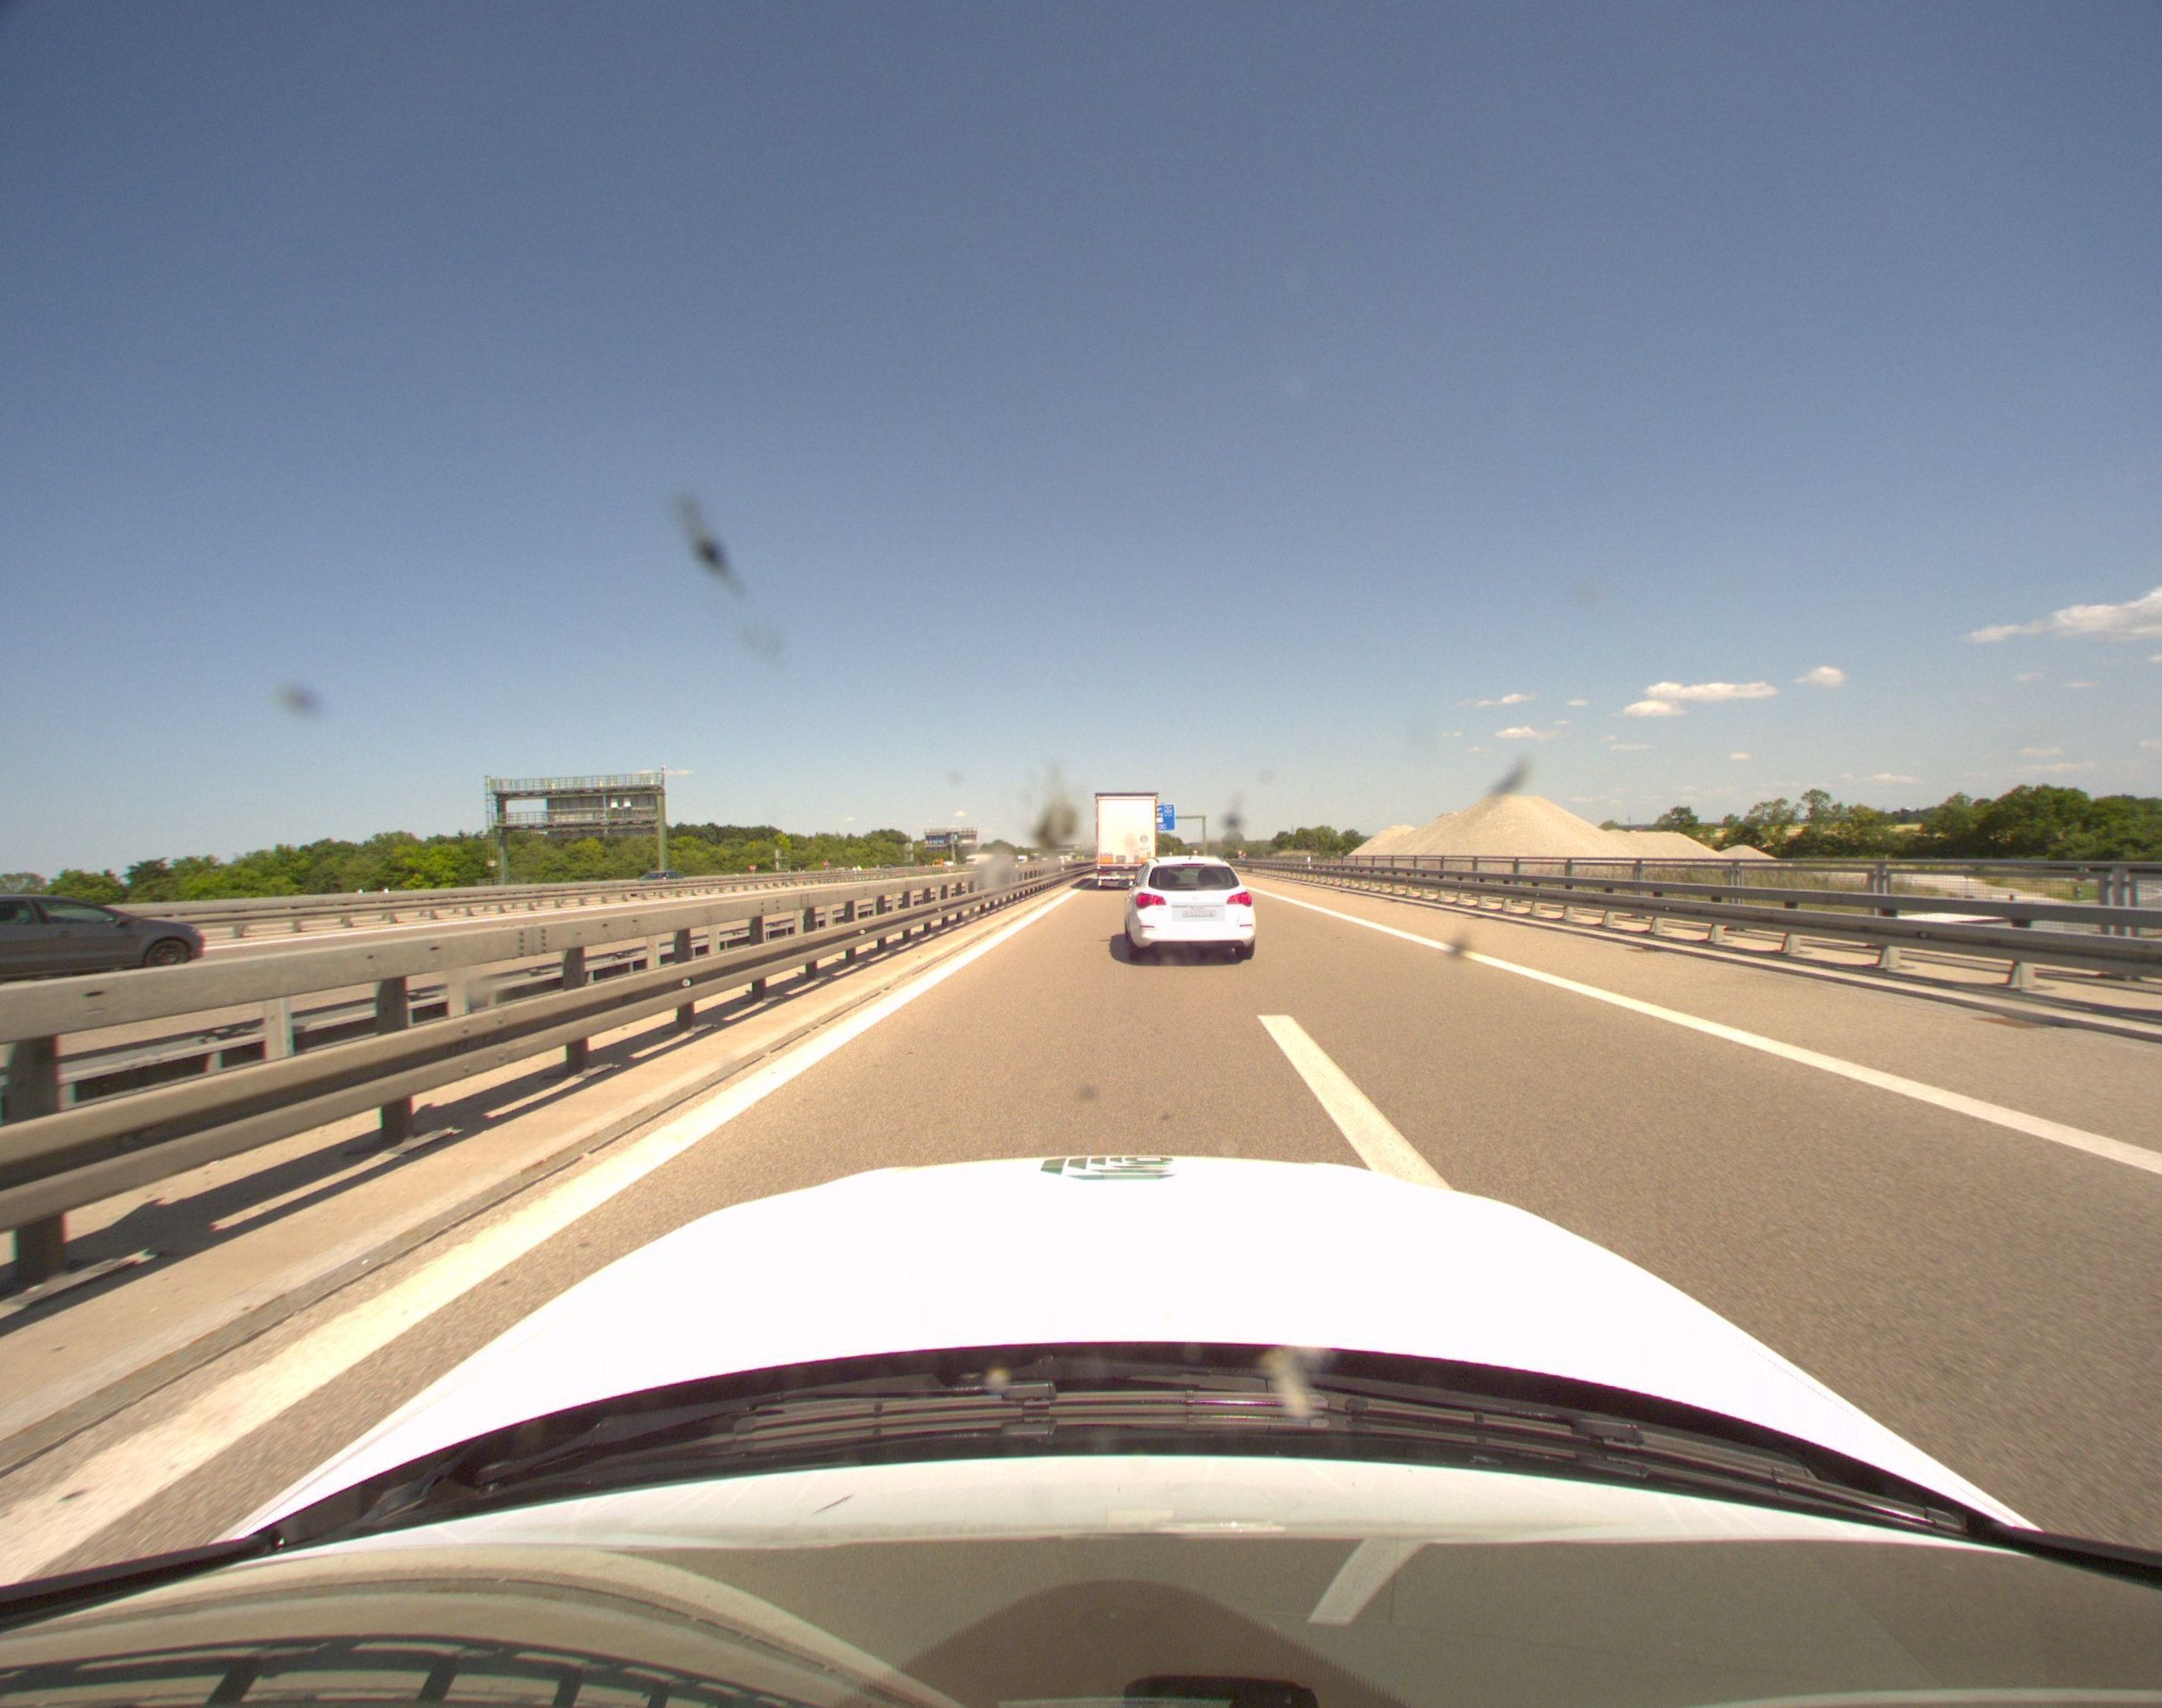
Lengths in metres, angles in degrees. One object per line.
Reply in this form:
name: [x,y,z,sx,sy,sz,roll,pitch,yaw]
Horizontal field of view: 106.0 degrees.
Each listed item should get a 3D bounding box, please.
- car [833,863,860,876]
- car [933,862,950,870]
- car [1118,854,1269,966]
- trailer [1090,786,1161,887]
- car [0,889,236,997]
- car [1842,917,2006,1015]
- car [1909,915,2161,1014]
car: [-30.393,1.958,105.659,1.830,1.517,4.536,-2,0,4]
car: [-25.910,2.222,151.086,1.830,1.517,5.303,-2,0,4]
car: [1.569,0.739,12.855,1.848,1.443,4.372,-1,0,1]
trailer: [2.231,-0.631,39.273,2.899,4.145,11.269,-1,-1,4]
car: [-16.313,1.359,12.672,1.755,1.422,4.221,-1,0,4]
car: [37.589,4.913,36.414,5.137,3.964,2.477,0,-1,-6]
car: [44.984,4.938,37.293,12.954,3.964,2.477,0,0,-7]
